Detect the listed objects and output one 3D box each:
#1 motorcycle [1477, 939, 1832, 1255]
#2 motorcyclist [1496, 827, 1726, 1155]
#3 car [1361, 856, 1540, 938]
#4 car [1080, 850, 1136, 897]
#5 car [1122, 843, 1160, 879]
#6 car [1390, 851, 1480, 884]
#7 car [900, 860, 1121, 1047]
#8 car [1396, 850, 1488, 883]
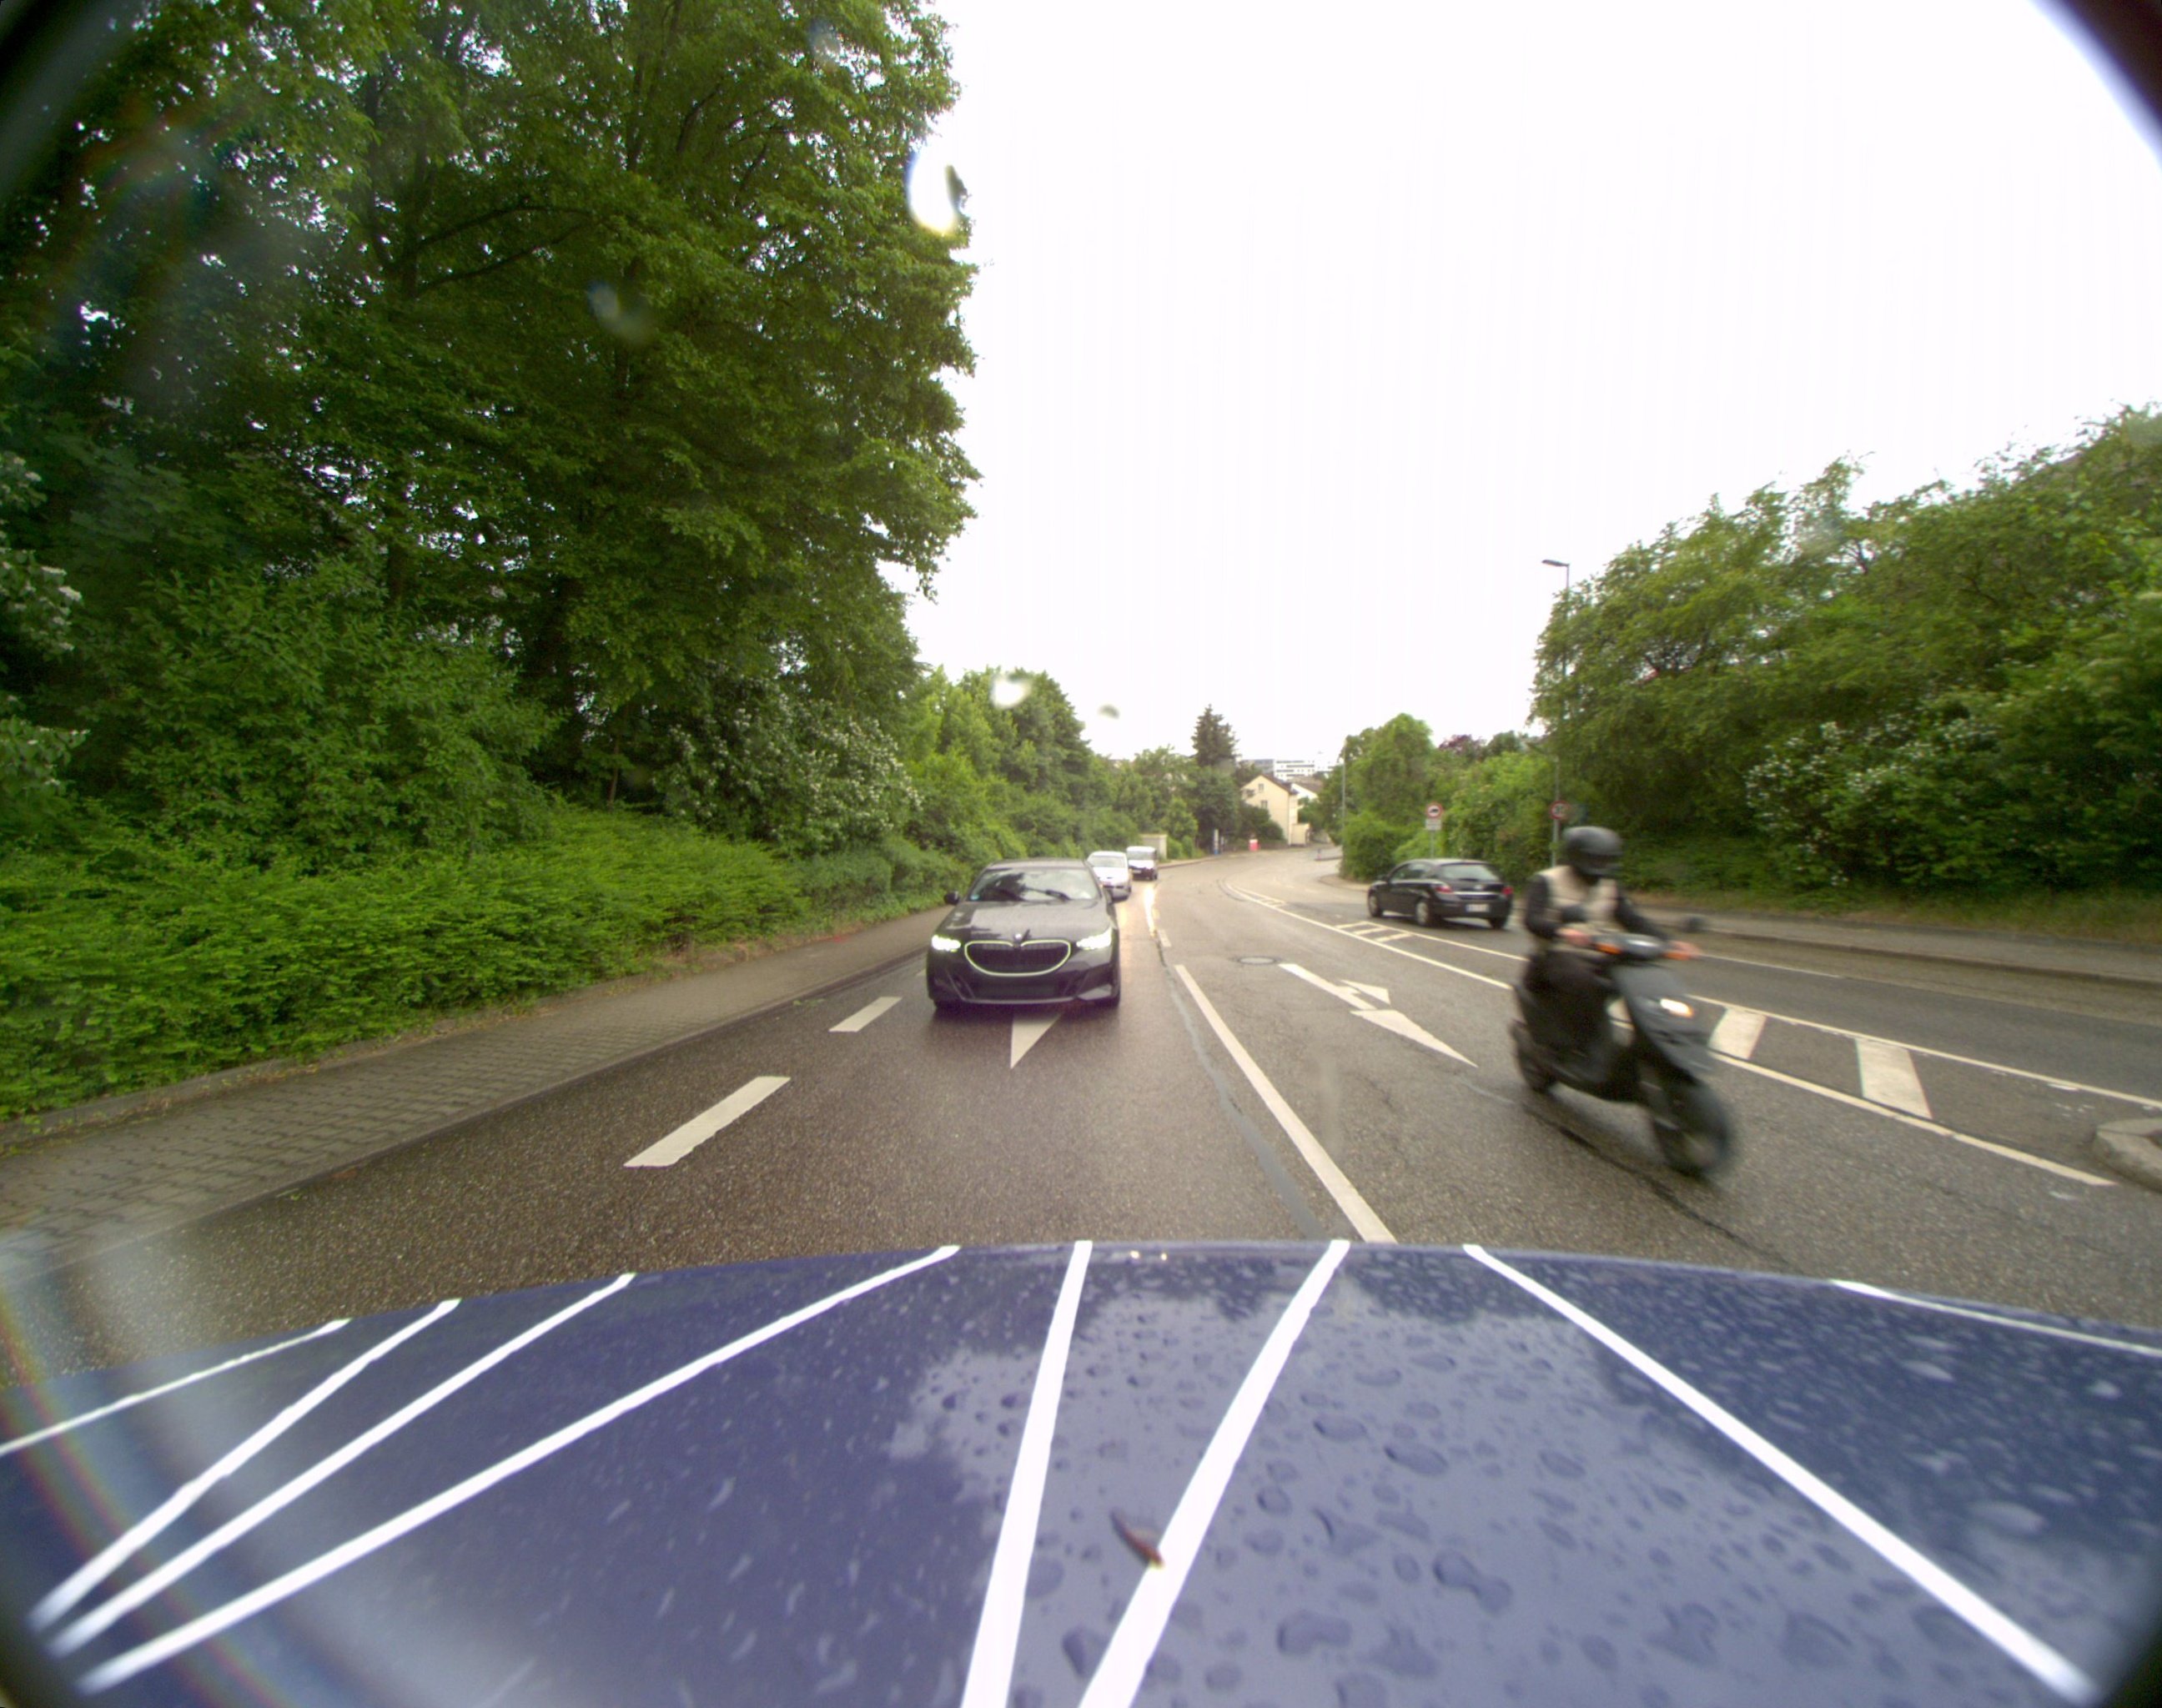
[{"bbox_3d":[2.825,1.107,4.032,0.692,1.047,1.747,1,2,7],"label":"motorcycle"},{"bbox_3d":[2.823,0.674,4.135,0.766,1.633,0.674,0,2,7],"label":"motorcyclist"},{"bbox_3d":[7.808,0.831,16.544,1.900,1.500,3.999,1,0,-1],"label":"car"},{"bbox_3d":[1.053,0.655,27.731,1.817,1.431,4.000,3,2,4],"label":"car"},{"bbox_3d":[3.383,0.342,42.078,1.776,1.765,4.002,3,2,8],"label":"car"},{"bbox_3d":[19.436,0.752,41.861,3.995,1.527,2.001,-4,0,8],"label":"car"},{"bbox_3d":[-0.516,0.887,8.733,1.872,1.497,4.198,1,1,4],"label":"car"},{"bbox_3d":[18.529,0.631,39.149,3.908,1.432,1.812,-4,0,9],"label":"car"}]
